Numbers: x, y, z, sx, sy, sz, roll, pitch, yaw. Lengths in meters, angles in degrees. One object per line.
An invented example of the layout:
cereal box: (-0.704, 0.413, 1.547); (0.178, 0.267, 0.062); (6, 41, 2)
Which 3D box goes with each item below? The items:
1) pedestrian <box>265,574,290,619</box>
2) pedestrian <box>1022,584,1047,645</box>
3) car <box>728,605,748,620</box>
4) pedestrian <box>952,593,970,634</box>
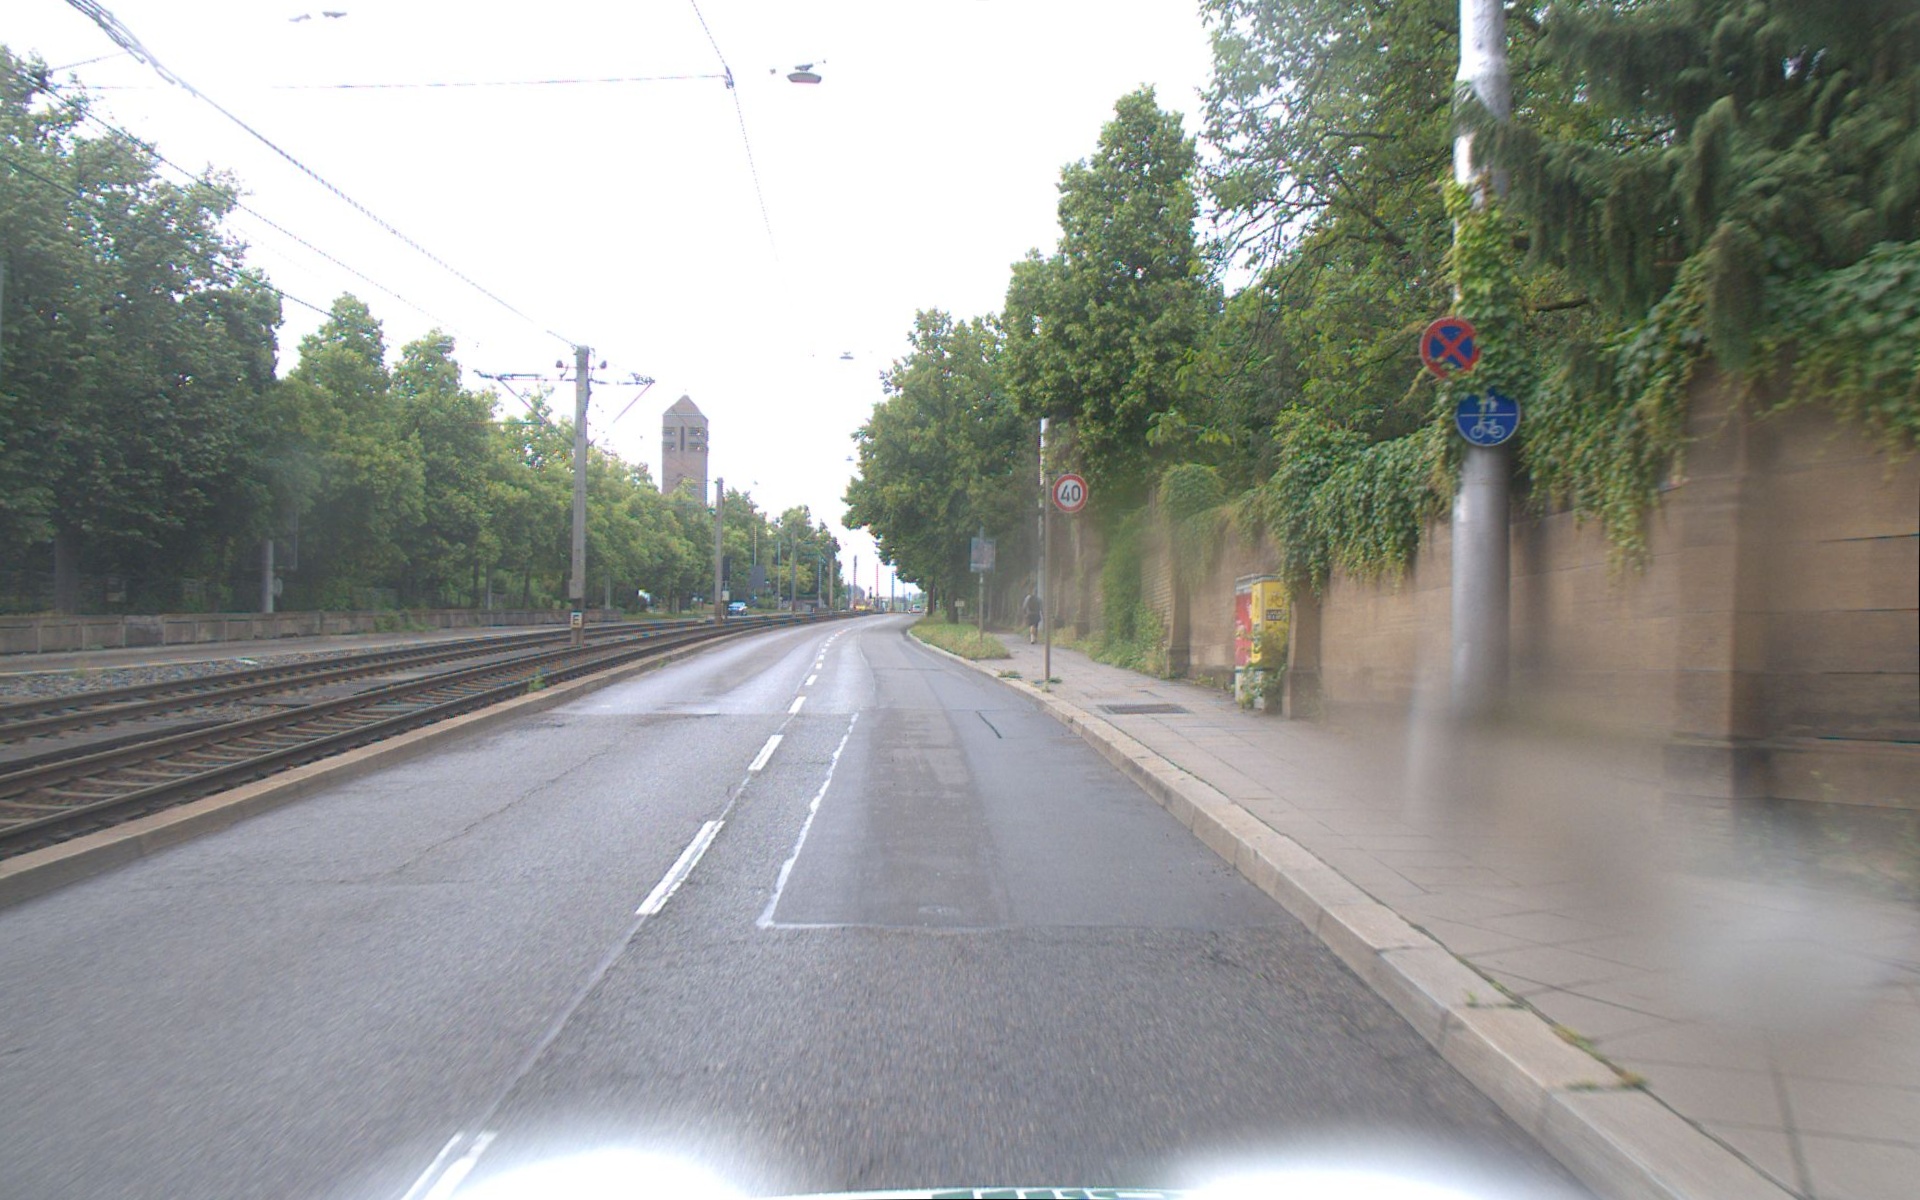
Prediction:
pedestrian: (-26.307, -0.128, 63.763); (0.635, 1.690, 0.650); (-2, 0, -1)
pedestrian: (2.331, 0.464, 51.802); (0.705, 1.882, 0.783); (1, -1, -2)
car: (-24.499, 1.375, 182.886); (1.758, 1.537, 3.848); (0, 0, -2)
pedestrian: (0.043, 0.563, 69.201); (0.705, 1.717, 0.729); (1, -1, -2)
